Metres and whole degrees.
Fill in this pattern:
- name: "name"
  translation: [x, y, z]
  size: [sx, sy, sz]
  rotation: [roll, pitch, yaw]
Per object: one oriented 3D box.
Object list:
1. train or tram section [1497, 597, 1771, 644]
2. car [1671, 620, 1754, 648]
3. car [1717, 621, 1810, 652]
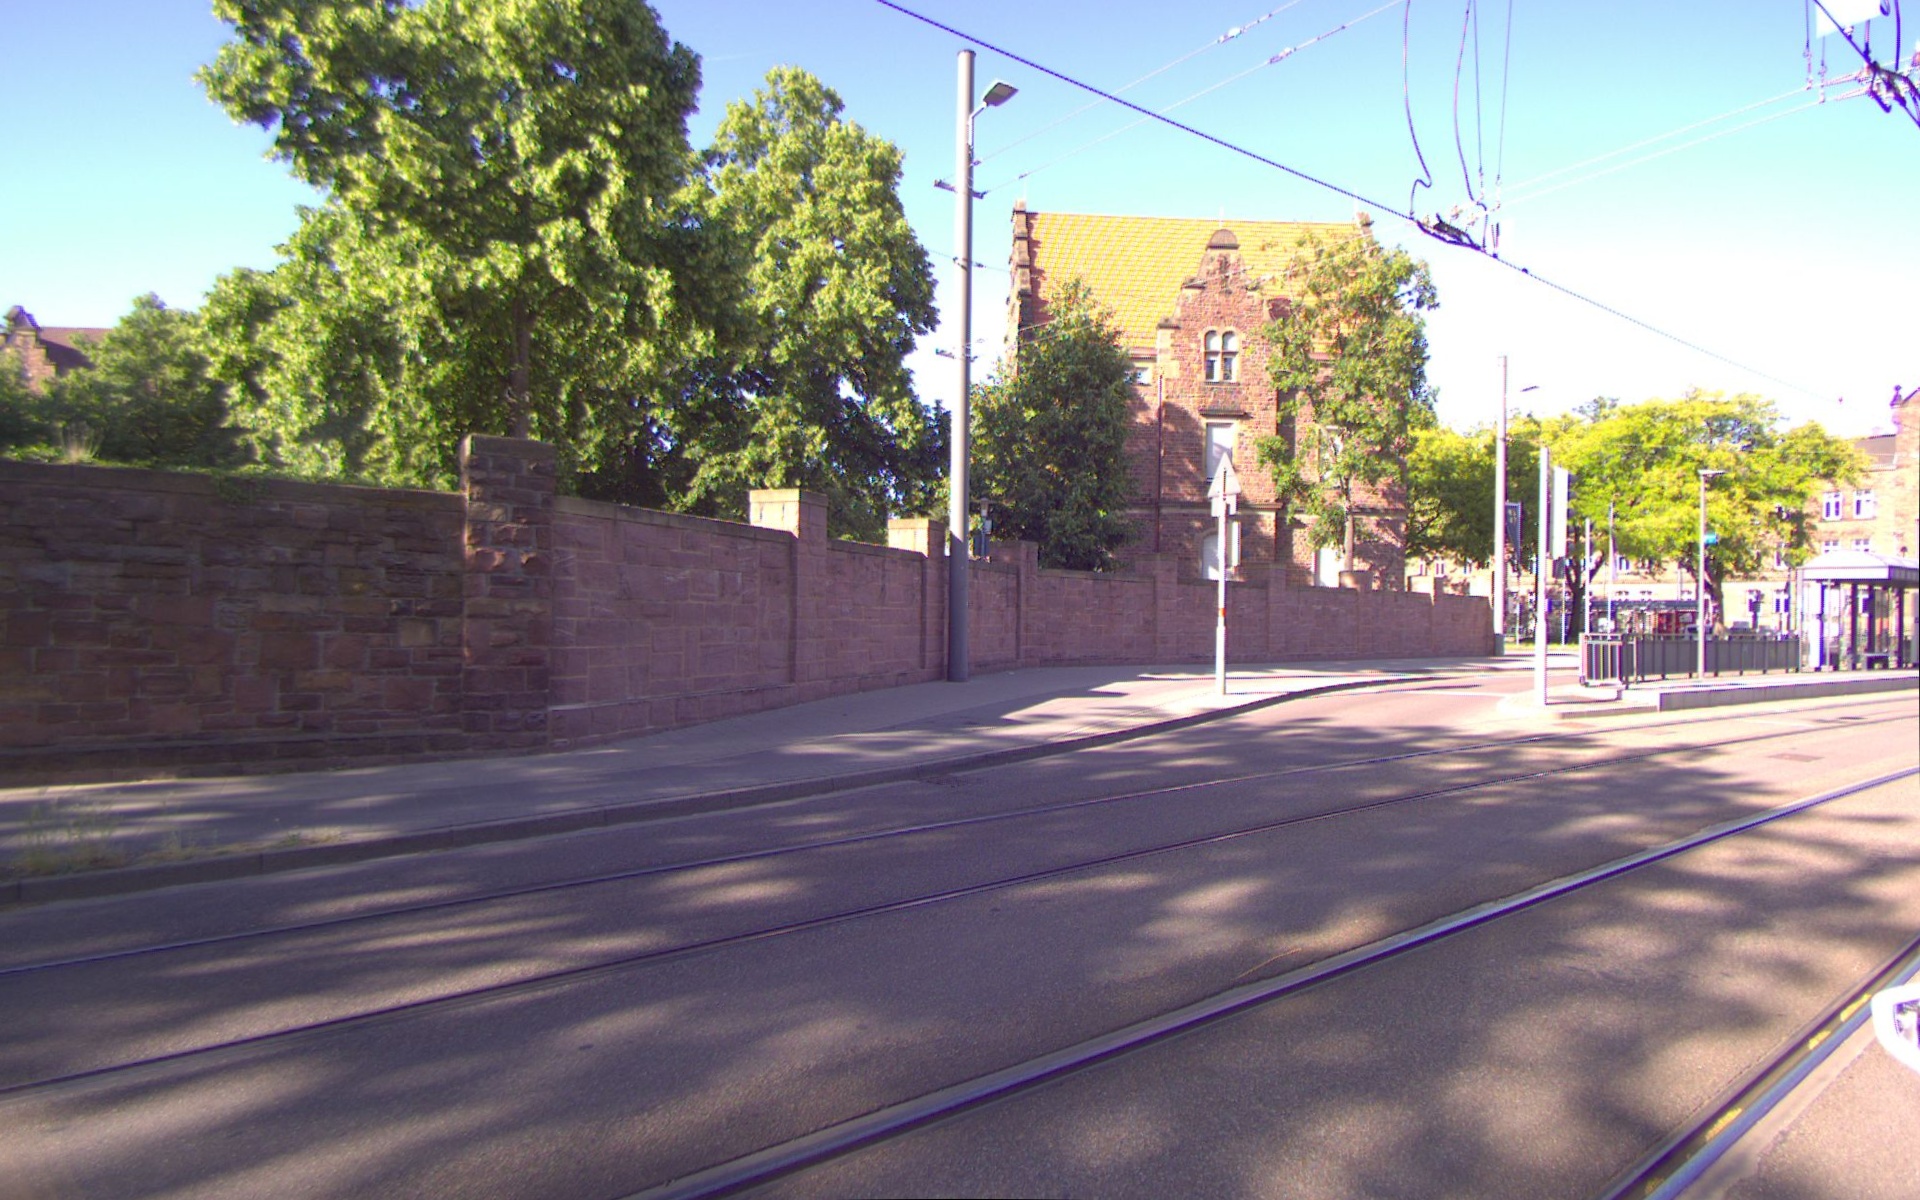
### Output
- name: "train or tram section"
  translation: [50.036, 1.455, 75.885]
  size: [3.312, 3.196, 17.280]
  rotation: [2, -1, -33]
- name: "car"
  translation: [49.186, 2.239, 65.681]
  size: [1.798, 1.651, 3.964]
  rotation: [2, 0, -32]
- name: "car"
  translation: [47.761, 2.156, 59.797]
  size: [1.798, 1.651, 3.964]
  rotation: [2, 0, -32]
